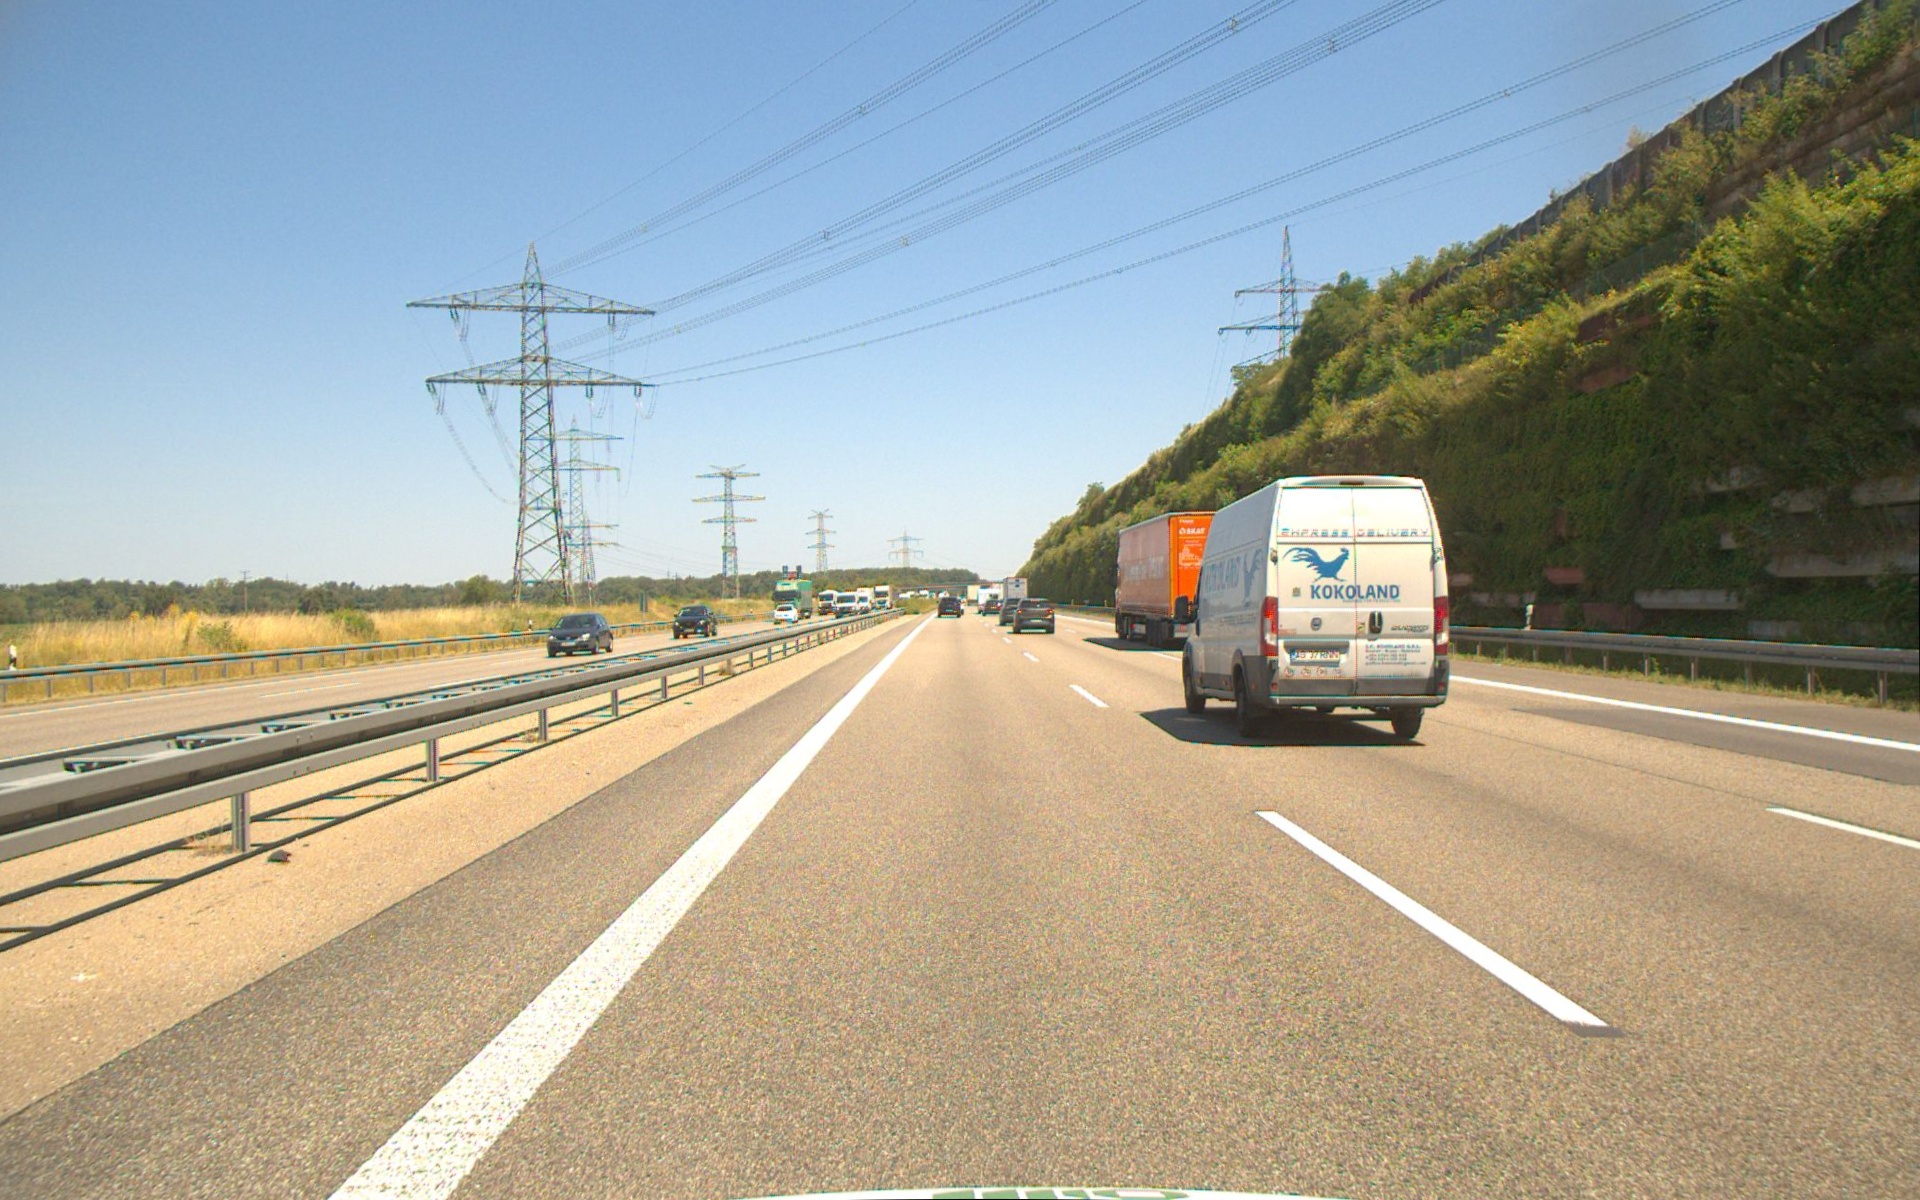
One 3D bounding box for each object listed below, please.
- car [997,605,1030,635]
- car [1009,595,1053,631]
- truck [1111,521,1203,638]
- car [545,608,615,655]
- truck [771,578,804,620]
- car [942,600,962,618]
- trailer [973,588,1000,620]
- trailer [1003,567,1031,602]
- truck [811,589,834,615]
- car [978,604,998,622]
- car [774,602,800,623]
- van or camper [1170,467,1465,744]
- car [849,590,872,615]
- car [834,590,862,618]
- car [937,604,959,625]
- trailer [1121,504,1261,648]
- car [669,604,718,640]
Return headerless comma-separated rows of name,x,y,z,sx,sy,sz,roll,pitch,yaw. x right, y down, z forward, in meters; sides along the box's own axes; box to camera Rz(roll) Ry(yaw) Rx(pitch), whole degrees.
car,3.067,1.124,95.874,1.757,1.682,4.138,-1,0,0
car,3.173,0.564,74.470,1.713,1.551,3.995,-1,0,-1
truck,7.182,-0.721,61.106,2.564,4.062,6.526,-1,0,0
car,-13.683,1.099,59.776,1.585,1.485,4.282,-4,0,-2
truck,-17.953,-0.124,172.522,2.644,4.206,6.579,-2,0,-1
car,-0.739,0.849,157.833,1.792,1.700,4.000,-2,0,0
trailer,2.767,0.426,174.989,2.557,3.269,9.951,-2,0,0
trailer,7.151,-1.902,209.038,3.118,4.193,13.431,-2,0,0
truck,-18.799,0.296,226.152,2.432,3.437,6.211,-2,0,0
car,2.535,1.141,150.209,1.792,1.552,4.000,-2,0,1
car,-14.304,1.032,137.077,1.673,1.550,4.513,-4,0,-1
van or camper,4.109,0.047,20.380,2.054,2.817,6.755,-1,0,-1
car,-10.359,0.282,172.601,2.006,2.480,6.068,-3,0,-1
car,-9.901,0.316,146.205,2.066,2.338,6.705,-2,0,-1
car,-0.998,1.221,139.497,1.792,1.700,4.000,-2,0,0
trailer,7.227,-0.703,53.818,2.591,4.075,13.605,-1,0,0
car,-13.987,1.133,87.103,1.803,1.658,4.413,-4,0,-1
